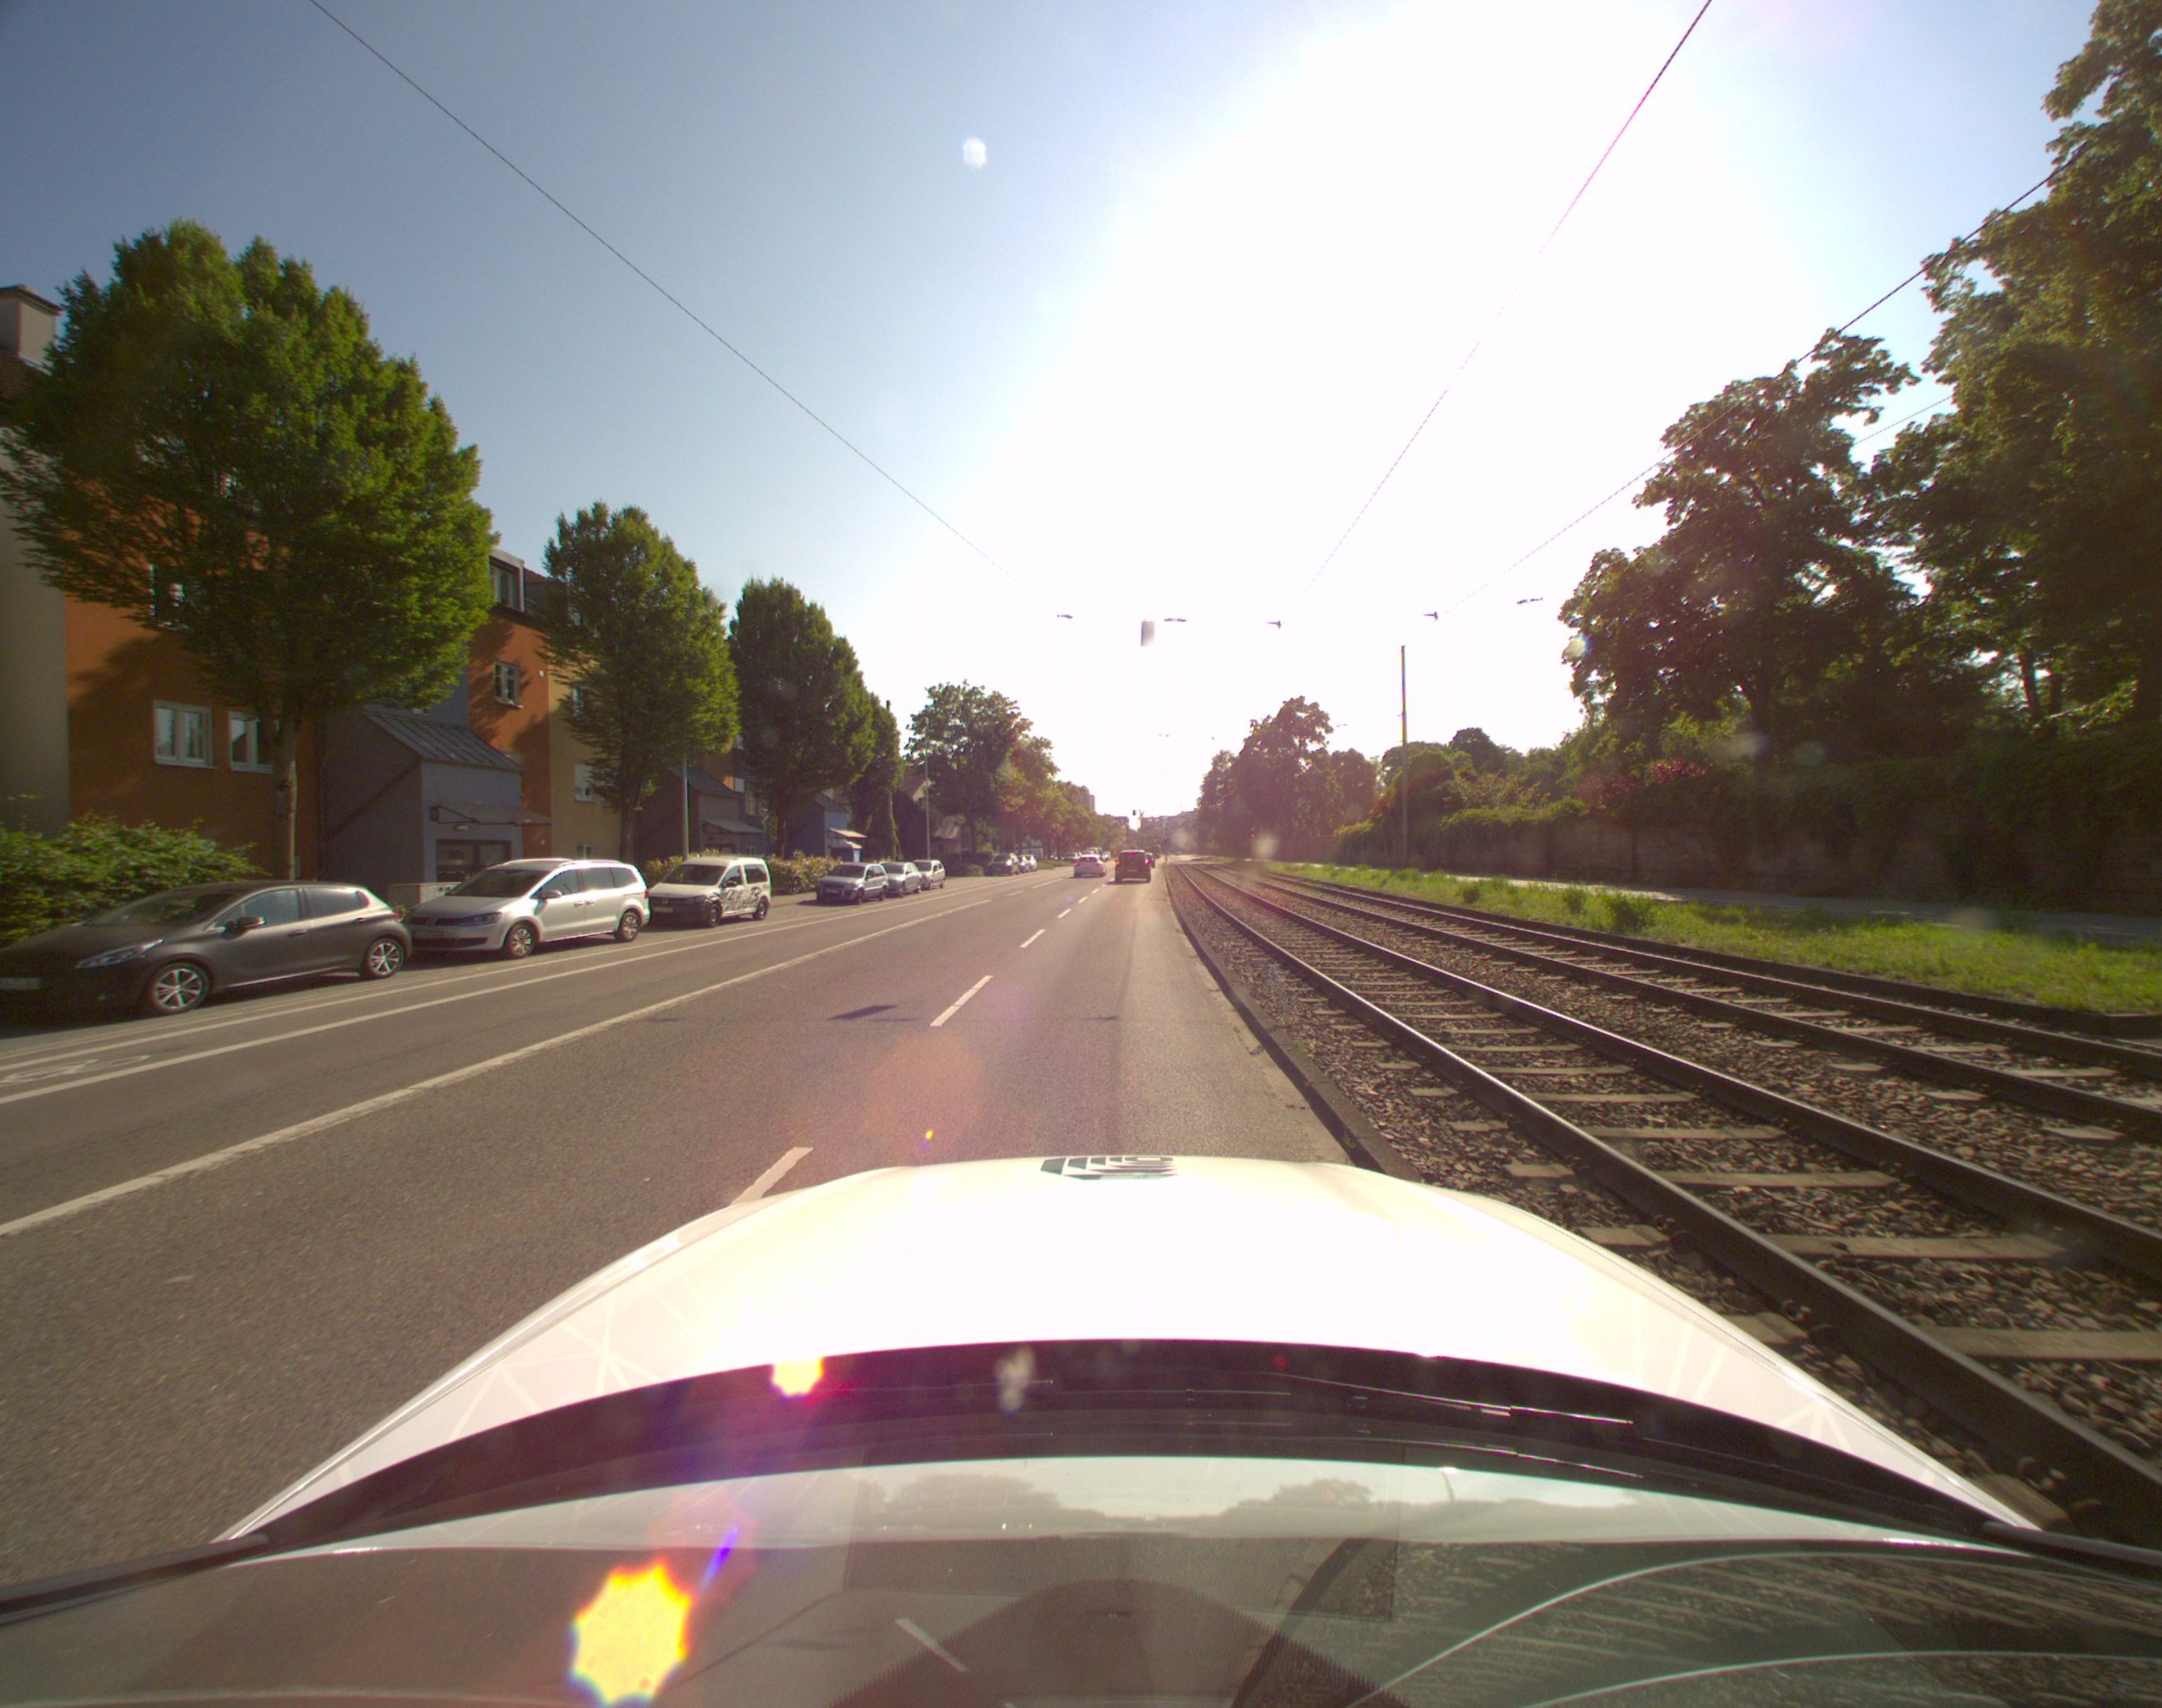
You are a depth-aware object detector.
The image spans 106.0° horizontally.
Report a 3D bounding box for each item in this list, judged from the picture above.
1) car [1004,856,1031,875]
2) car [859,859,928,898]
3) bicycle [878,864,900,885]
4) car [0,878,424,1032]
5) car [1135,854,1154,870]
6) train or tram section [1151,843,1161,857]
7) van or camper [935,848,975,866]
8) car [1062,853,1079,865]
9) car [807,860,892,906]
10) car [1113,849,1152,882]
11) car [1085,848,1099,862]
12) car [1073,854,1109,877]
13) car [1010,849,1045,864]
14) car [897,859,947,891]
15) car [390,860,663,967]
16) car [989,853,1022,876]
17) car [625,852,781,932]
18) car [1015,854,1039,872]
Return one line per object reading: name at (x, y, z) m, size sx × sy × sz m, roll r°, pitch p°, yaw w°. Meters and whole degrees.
car at (-5.395, 0.945, 69.449) m, size 1.669 × 1.468 × 3.972 m, roll -1°, pitch 0°, yaw 4°
car at (-8.387, 1.065, 36.929) m, size 1.742 × 1.510 × 4.759 m, roll 3°, pitch 0°, yaw 3°
bicycle at (-10.854, 1.141, 46.123) m, size 0.440 × 1.154 × 1.790 m, roll -2°, pitch -1°, yaw 12°
car at (-11.014, 1.108, 10.507) m, size 1.609 × 1.466 × 4.062 m, roll 0°, pitch 0°, yaw 3°
car at (6.107, 0.720, 78.249) m, size 1.802 × 1.449 × 4.006 m, roll 0°, pitch 0°, yaw 5°
train or tram section at (20.103, -1.047, 218.081) m, size 2.315 × 3.570 × 8.915 m, roll -2°, pitch 0°, yaw 6°
van or camper at (-21.983, 0.545, 142.005) m, size 6.431 × 2.868 × 2.311 m, roll -1°, pitch 0°, yaw 6°
car at (-1.405, 0.678, 112.267) m, size 1.722 × 1.658 × 4.008 m, roll -2°, pitch 0°, yaw 7°
car at (-8.982, 1.085, 31.942) m, size 1.754 × 1.539 × 3.988 m, roll 3°, pitch 0°, yaw 6°
car at (2.726, 0.575, 42.362) m, size 1.802 × 1.645 × 4.006 m, roll -1°, pitch 0°, yaw 6°
car at (1.896, 0.108, 141.995) m, size 1.853 × 2.347 × 4.995 m, roll -2°, pitch 0°, yaw 7°
car at (0.672, 0.691, 50.871) m, size 1.855 × 1.348 × 4.007 m, roll -1°, pitch 0°, yaw 6°
car at (-8.910, 0.429, 136.122) m, size 5.349 × 2.423 × 2.091 m, roll -2°, pitch 0°, yaw 5°
car at (-8.214, 1.043, 42.320) m, size 1.594 × 1.494 × 3.514 m, roll 3°, pitch 0°, yaw 5°
car at (-10.422, 0.991, 15.873) m, size 1.660 × 1.701 × 4.831 m, roll 1°, pitch 0°, yaw 5°
car at (-5.858, 0.820, 63.756) m, size 1.703 × 1.694 × 4.430 m, roll -1°, pitch 0°, yaw 6°
car at (-10.036, 0.924, 22.096) m, size 1.755 × 1.845 × 4.585 m, roll 3°, pitch 0°, yaw 4°
car at (-4.969, 0.826, 75.165) m, size 1.593 × 1.550 × 3.899 m, roll 0°, pitch 0°, yaw 5°
